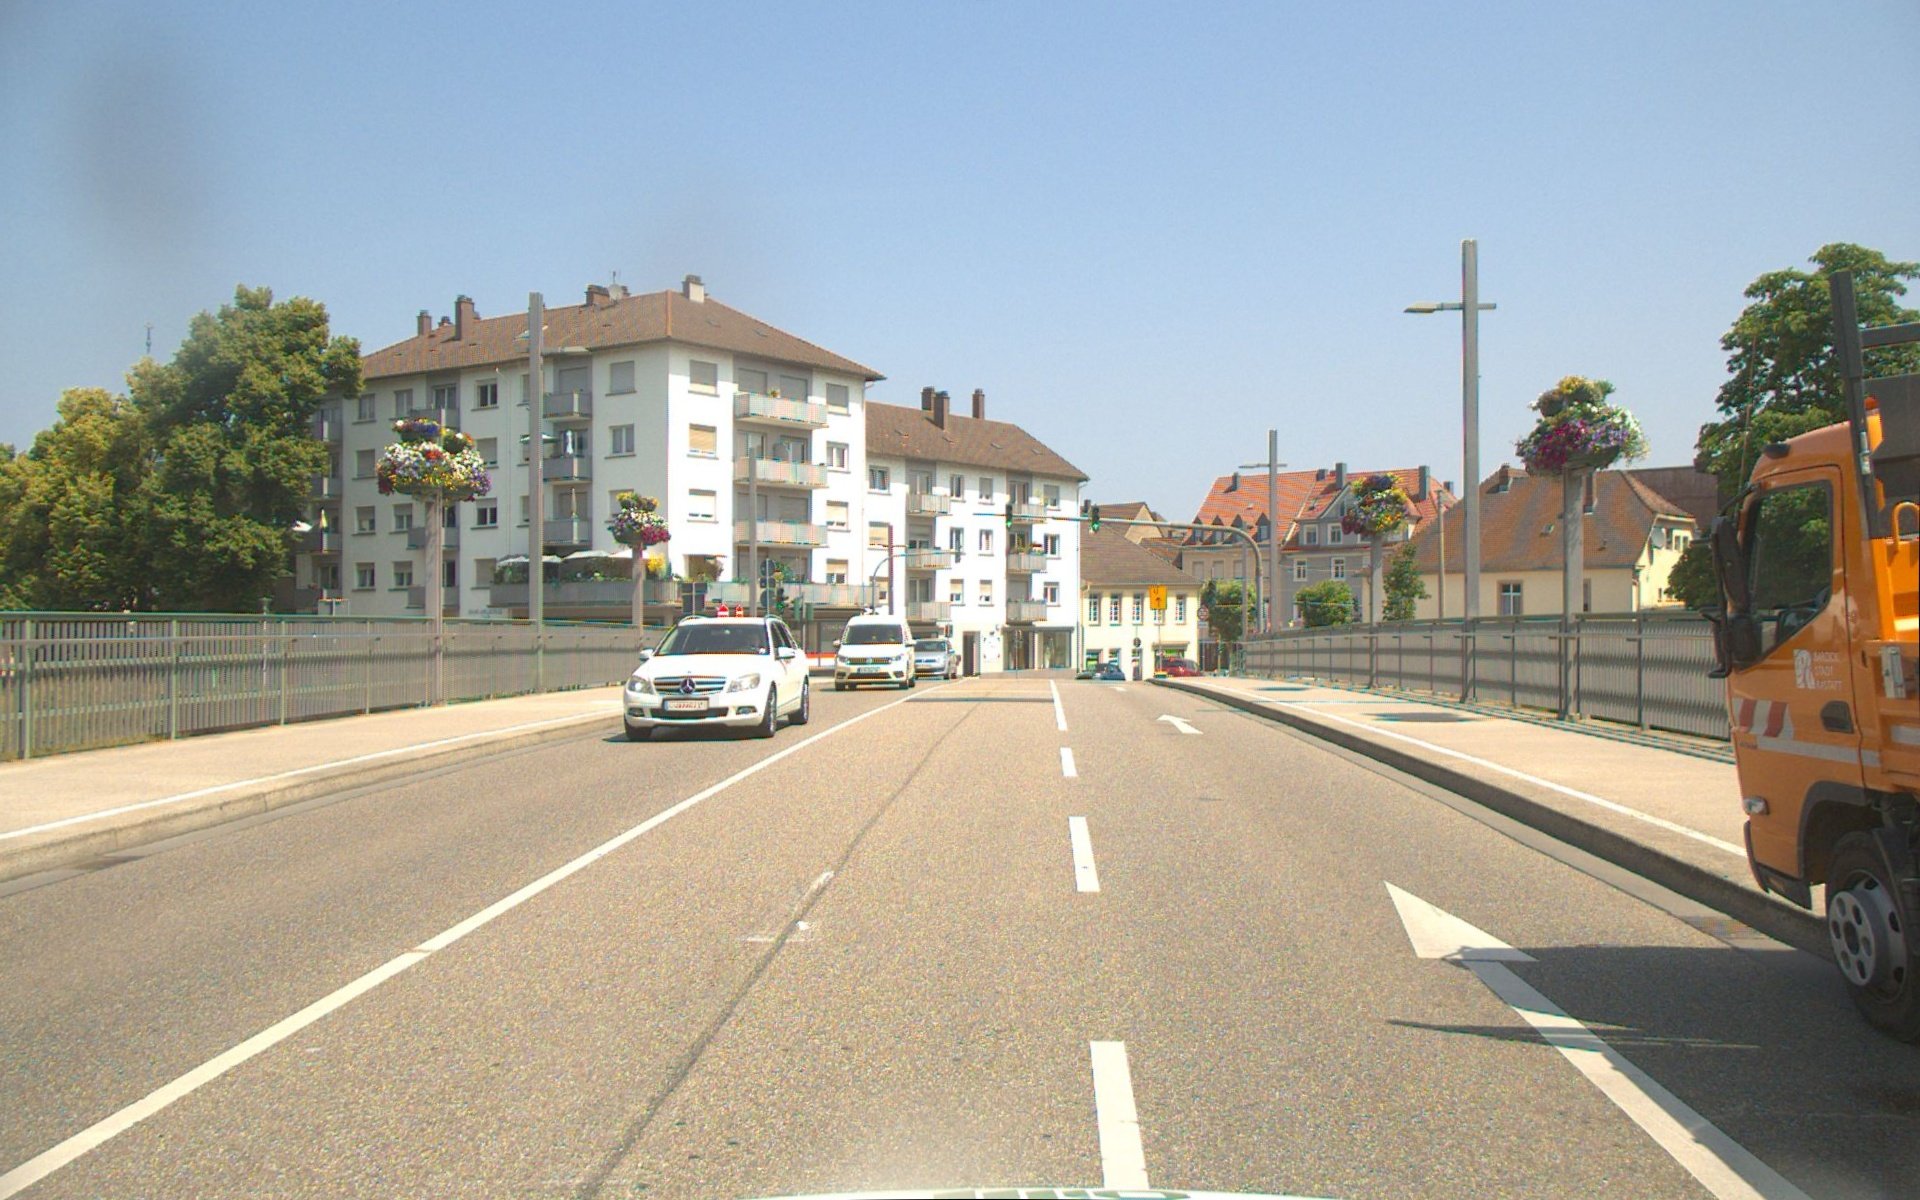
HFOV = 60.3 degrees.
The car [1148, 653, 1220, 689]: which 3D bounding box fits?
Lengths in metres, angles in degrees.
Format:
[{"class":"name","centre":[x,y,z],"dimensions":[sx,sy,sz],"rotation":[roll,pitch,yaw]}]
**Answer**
[{"class":"car","centre":[11.286,3.541,83.119],"dimensions":[1.955,1.641,4.330],"rotation":[-1,0,33]}]

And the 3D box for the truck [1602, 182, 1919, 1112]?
[{"class":"truck","centre":[4.032,0.073,4.222],"dimensions":[2.552,2.737,5.825],"rotation":[-6,0,3]}]

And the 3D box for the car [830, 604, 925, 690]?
[{"class":"car","centre":[-1.965,1.161,40.723],"dimensions":[1.722,1.890,4.648],"rotation":[-3,-2,4]}]

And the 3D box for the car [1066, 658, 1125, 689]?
[{"class":"car","centre":[7.430,4.042,90.723],"dimensions":[1.627,1.465,3.746],"rotation":[-4,-2,32]}]

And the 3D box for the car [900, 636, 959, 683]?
[{"class":"car","centre":[-1.047,2.082,58.690],"dimensions":[1.723,1.545,4.002],"rotation":[-2,-1,4]}]

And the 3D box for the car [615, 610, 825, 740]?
[{"class":"car","centre":[-2.930,0.892,21.192],"dimensions":[1.806,1.457,4.715],"rotation":[-1,-1,2]}]
